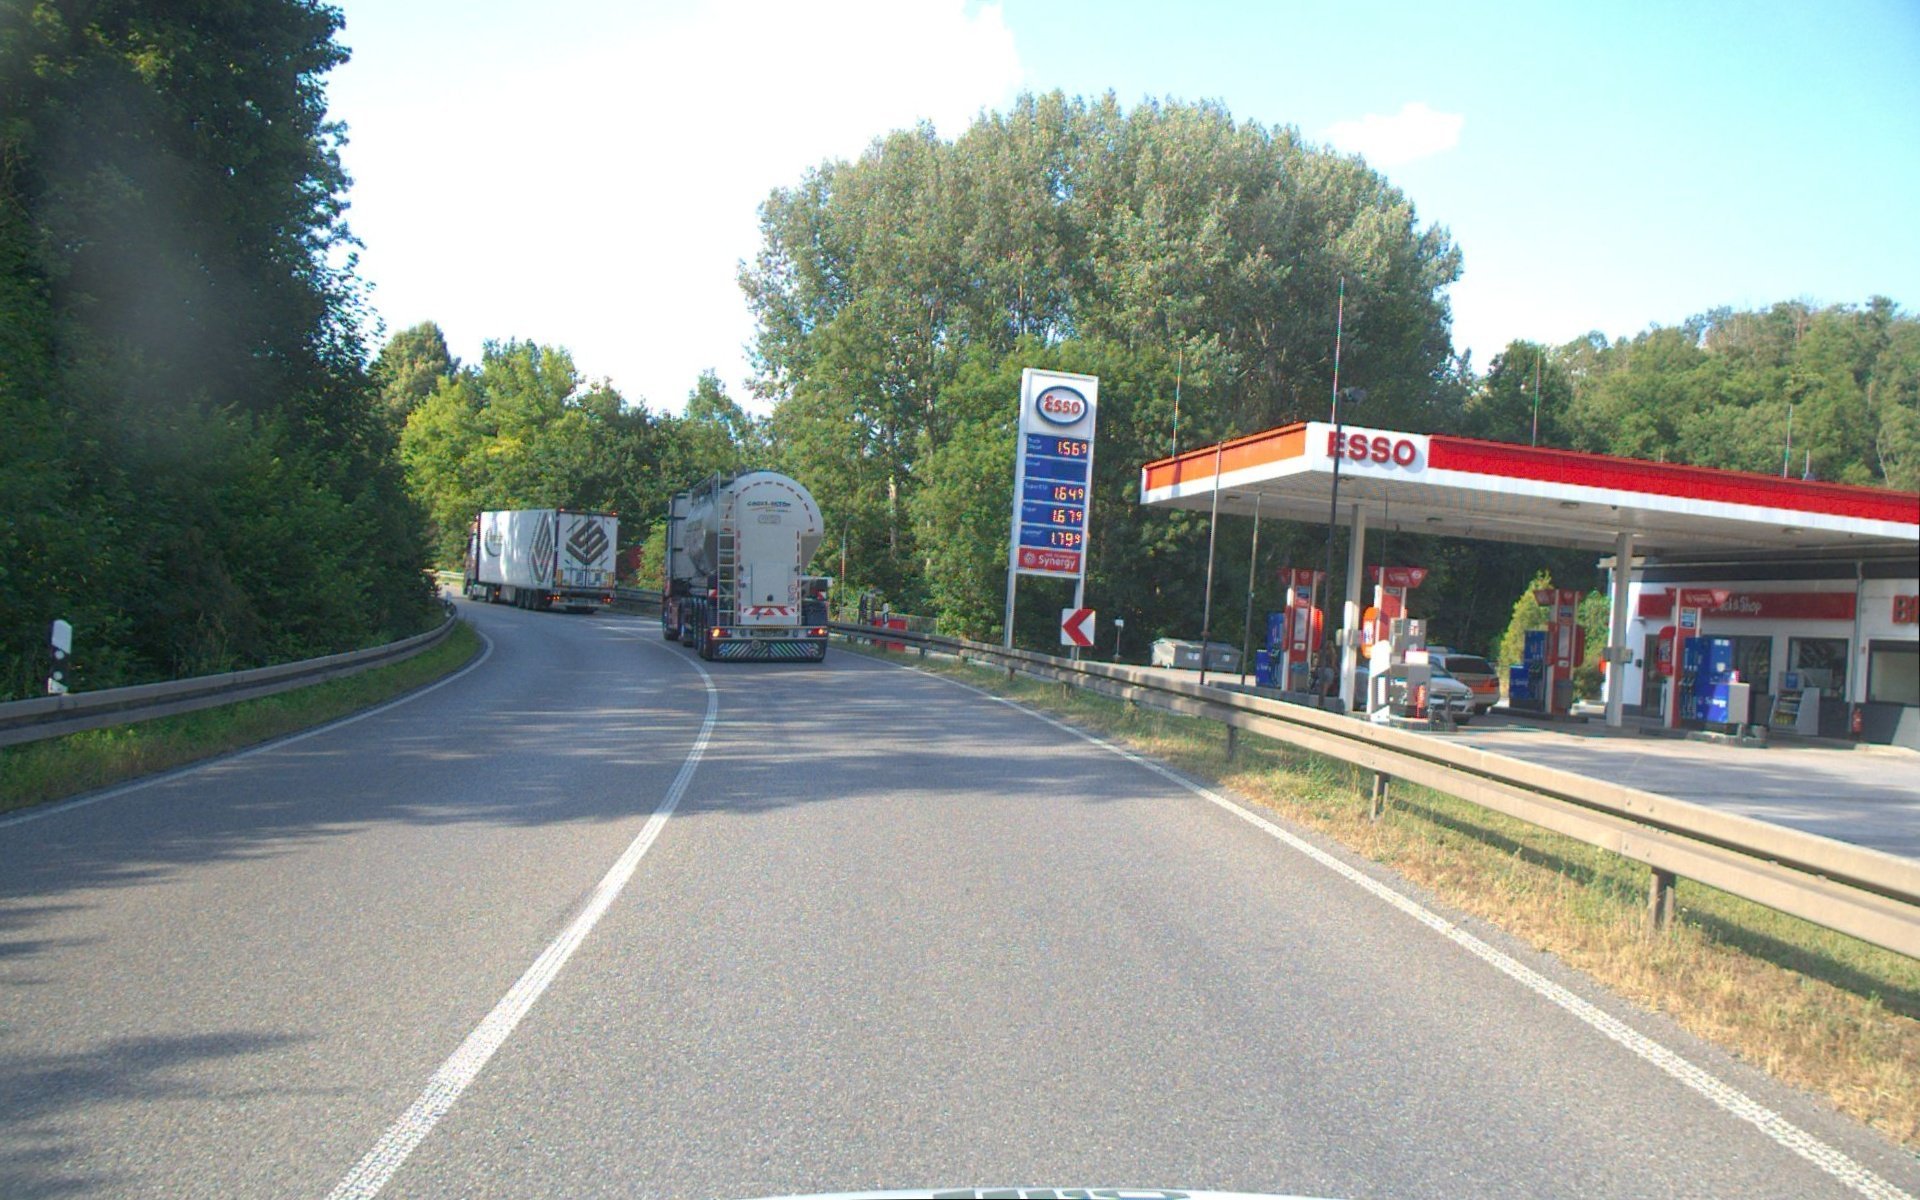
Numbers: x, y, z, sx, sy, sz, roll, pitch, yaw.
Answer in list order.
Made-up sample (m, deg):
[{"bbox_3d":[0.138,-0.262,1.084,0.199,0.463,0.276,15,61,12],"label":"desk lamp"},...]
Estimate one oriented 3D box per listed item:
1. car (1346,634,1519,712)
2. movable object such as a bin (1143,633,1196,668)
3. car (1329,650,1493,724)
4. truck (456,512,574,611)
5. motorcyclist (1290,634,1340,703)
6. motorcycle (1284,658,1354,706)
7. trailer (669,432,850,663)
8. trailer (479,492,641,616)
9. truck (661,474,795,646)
[{"bbox_3d":[12.219,1.843,43.176,2.056,1.656,5.163,3,0,-13],"label":"car"},{"bbox_3d":[10.190,2.461,80.547,1.251,1.444,2.536,7,-2,-26],"label":"movable object such as a bin"},{"bbox_3d":[10.272,1.957,38.056,1.810,1.342,4.377,3,0,-12],"label":"car"},{"bbox_3d":[-20.514,-1.784,76.004,3.416,4.157,6.422,3,0,-31],"label":"truck"},{"bbox_3d":[8.914,1.708,41.567,0.843,1.632,0.925,4,-1,-13],"label":"motorcyclist"},{"bbox_3d":[8.939,2.022,41.328,0.748,1.029,2.333,3,0,-13],"label":"motorcycle"},{"bbox_3d":[-4.794,-1.080,37.634,2.838,4.532,9.570,1,0,-14],"label":"trailer"},{"bbox_3d":[-17.130,-1.914,69.814,3.504,4.591,12.869,3,0,-27],"label":"trailer"},{"bbox_3d":[-6.087,-0.974,42.645,2.777,4.105,5.872,0,1,-14],"label":"truck"}]
